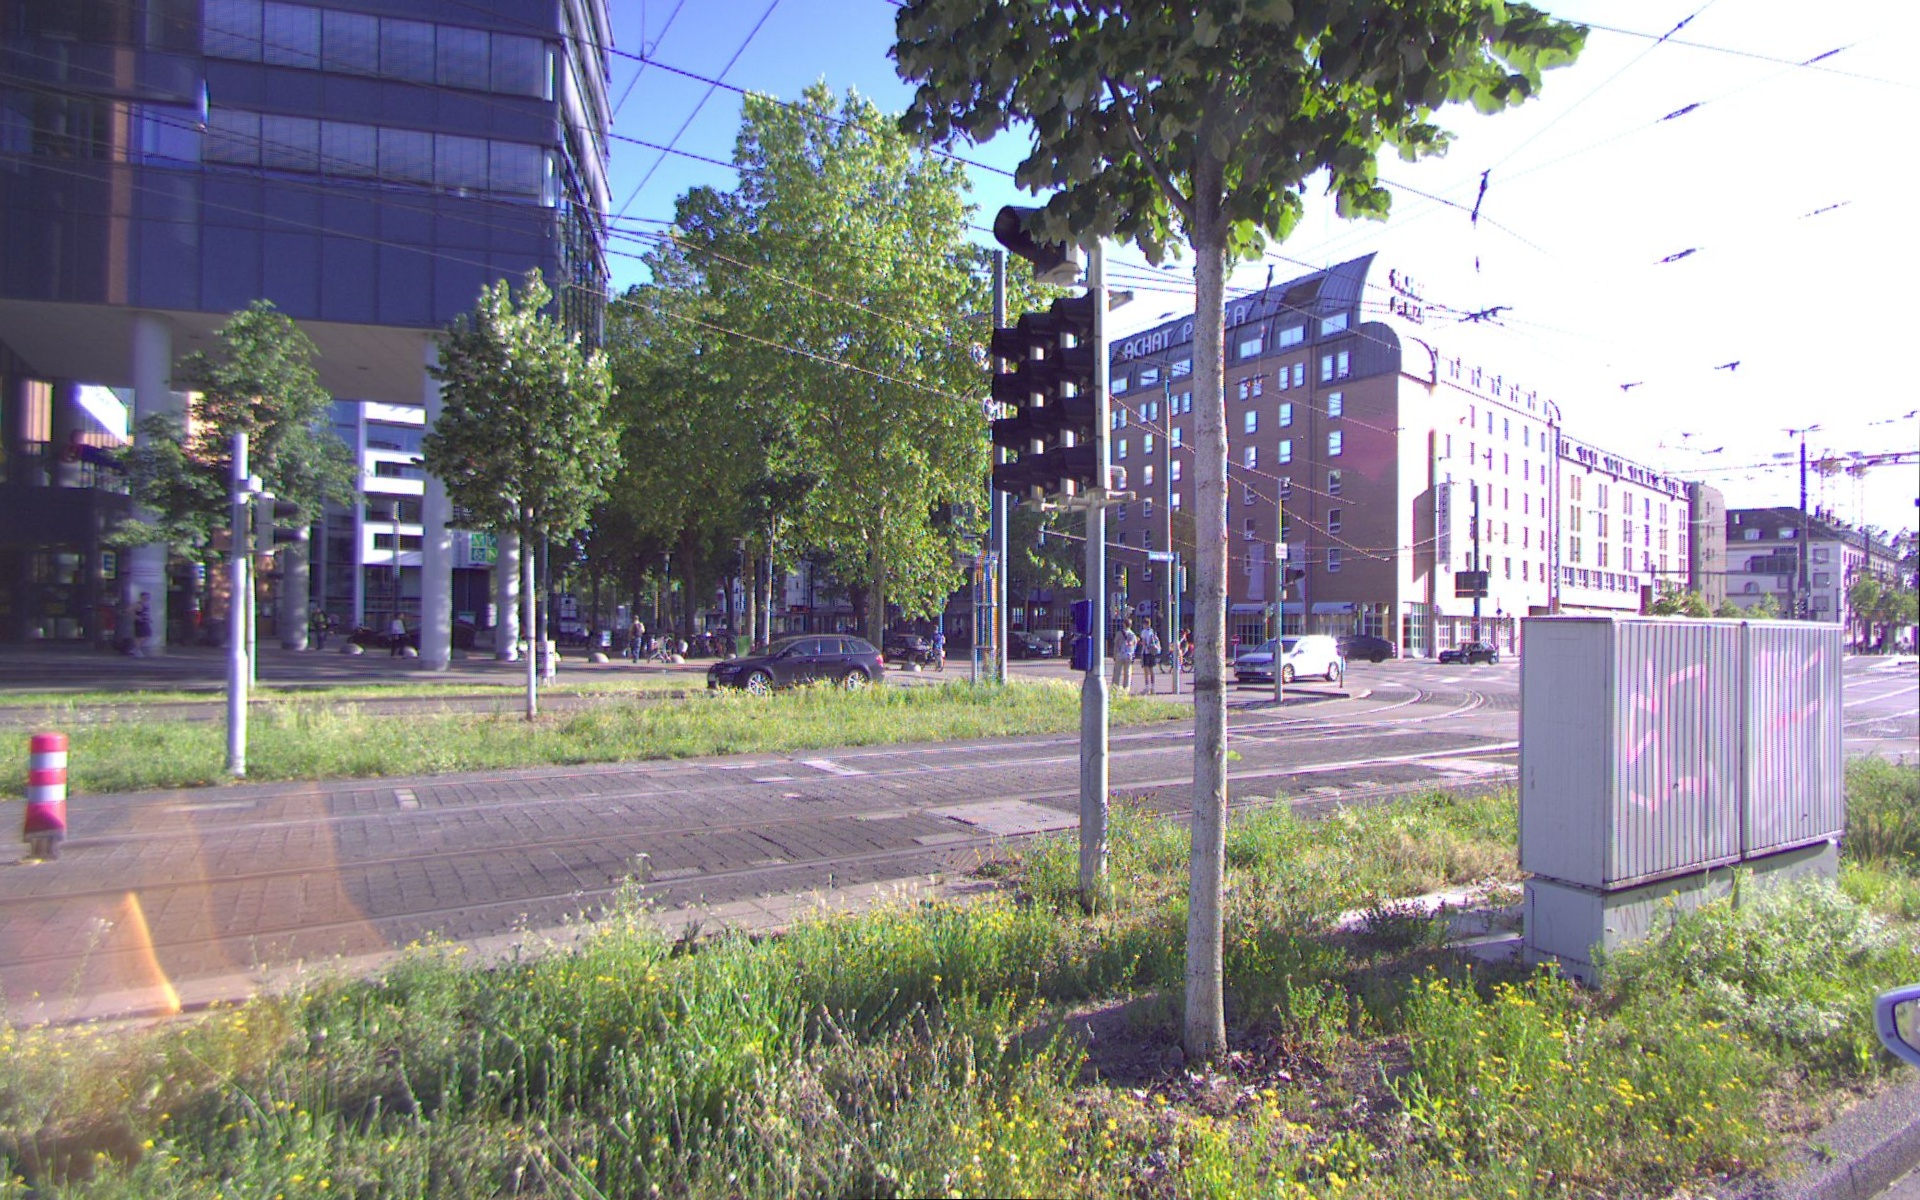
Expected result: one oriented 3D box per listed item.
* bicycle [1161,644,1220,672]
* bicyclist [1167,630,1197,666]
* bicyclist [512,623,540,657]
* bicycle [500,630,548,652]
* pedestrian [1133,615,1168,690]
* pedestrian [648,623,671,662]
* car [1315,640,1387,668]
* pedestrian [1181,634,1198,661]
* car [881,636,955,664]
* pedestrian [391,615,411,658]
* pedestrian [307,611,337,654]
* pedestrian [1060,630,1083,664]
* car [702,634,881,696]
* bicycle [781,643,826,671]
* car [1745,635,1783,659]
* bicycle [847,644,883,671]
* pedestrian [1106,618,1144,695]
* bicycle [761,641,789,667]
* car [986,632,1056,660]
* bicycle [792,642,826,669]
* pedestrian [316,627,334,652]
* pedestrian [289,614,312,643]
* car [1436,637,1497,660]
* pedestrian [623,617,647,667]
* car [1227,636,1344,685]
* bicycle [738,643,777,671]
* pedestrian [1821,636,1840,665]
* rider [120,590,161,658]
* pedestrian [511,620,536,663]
[{"bbox_3d":[9.358,2.335,40.745,2.900,1.099,0.645,2,-2,-38],"label":"bicycle"},{"bbox_3d":[8.946,1.925,40.401,0.942,1.393,0.752,2,-1,-37],"label":"bicyclist"},{"bbox_3d":[-19.140,1.772,44.328,1.005,1.484,0.674,2,-2,-33],"label":"bicyclist"},{"bbox_3d":[-19.219,1.810,44.283,1.869,0.922,0.495,1,-2,-34],"label":"bicycle"},{"bbox_3d":[4.756,1.296,25.094,0.656,1.841,0.559,1,-1,-36],"label":"pedestrian"},{"bbox_3d":[-12.809,1.810,42.773,0.826,1.667,0.730,1,-1,-25],"label":"pedestrian"},{"bbox_3d":[24.179,3.312,62.198,1.740,1.570,3.965,1,-2,-32],"label":"car"},{"bbox_3d":[13.238,2.716,57.864,0.652,1.523,0.672,1,-1,-33],"label":"pedestrian"},{"bbox_3d":[-2.099,2.419,49.064,1.977,1.283,3.968,1,-2,-30],"label":"car"},{"bbox_3d":[-19.752,1.294,35.479,0.566,1.500,0.450,1,0,-30],"label":"pedestrian"},{"bbox_3d":[-26.662,1.356,41.967,0.794,1.730,0.789,1,0,-13],"label":"pedestrian"},{"bbox_3d":[5.438,2.295,48.807,0.832,1.619,0.692,1,0,-33],"label":"pedestrian"},{"bbox_3d":[-4.168,1.596,25.139,4.104,1.440,1.711,2,-4,-36],"label":"car"},{"bbox_3d":[-5.765,2.094,36.893,1.742,0.964,0.540,0,-1,34],"label":"bicycle"},{"bbox_3d":[53.364,3.095,66.625,1.726,1.524,3.858,-1,-2,43],"label":"car"},{"bbox_3d":[-3.614,2.160,38.209,0.536,0.964,1.753,2,-2,-36],"label":"bicycle"},{"bbox_3d":[4.045,1.375,24.625,0.656,1.854,0.627,1,-1,-36],"label":"pedestrian"},{"bbox_3d":[-7.069,2.050,38.420,0.530,0.964,1.772,1,-1,7],"label":"bicycle"},{"bbox_3d":[3.327,2.513,55.159,1.743,1.439,3.960,2,-2,-35],"label":"car"},{"bbox_3d":[-5.754,2.104,38.268,0.536,0.964,1.753,2,-2,-36],"label":"bicycle"},{"bbox_3d":[-34.742,2.164,54.944,0.651,1.294,0.636,1,0,-13],"label":"pedestrian"},{"bbox_3d":[-35.151,1.526,53.558,0.647,1.500,1.053,1,0,-13],"label":"pedestrian"},{"bbox_3d":[31.426,2.996,62.302,3.959,1.407,1.743,2,-2,-34],"label":"car"},{"bbox_3d":[-13.516,1.726,41.742,0.826,2.040,0.730,1,0,-25],"label":"pedestrian"},{"bbox_3d":[10.626,1.937,32.662,3.960,1.468,1.563,2,-2,-35],"label":"car"},{"bbox_3d":[-7.445,2.084,36.929,0.538,0.964,1.748,2,-2,-44],"label":"bicycle"},{"bbox_3d":[50.480,2.911,58.251,0.739,1.662,0.758,2,-2,-43],"label":"pedestrian"},{"bbox_3d":[-22.245,0.655,27.272,0.704,1.826,0.715,1,-1,-29],"label":"rider"},{"bbox_3d":[-16.574,1.566,38.166,0.826,1.619,0.730,1,0,-25],"label":"pedestrian"}]
